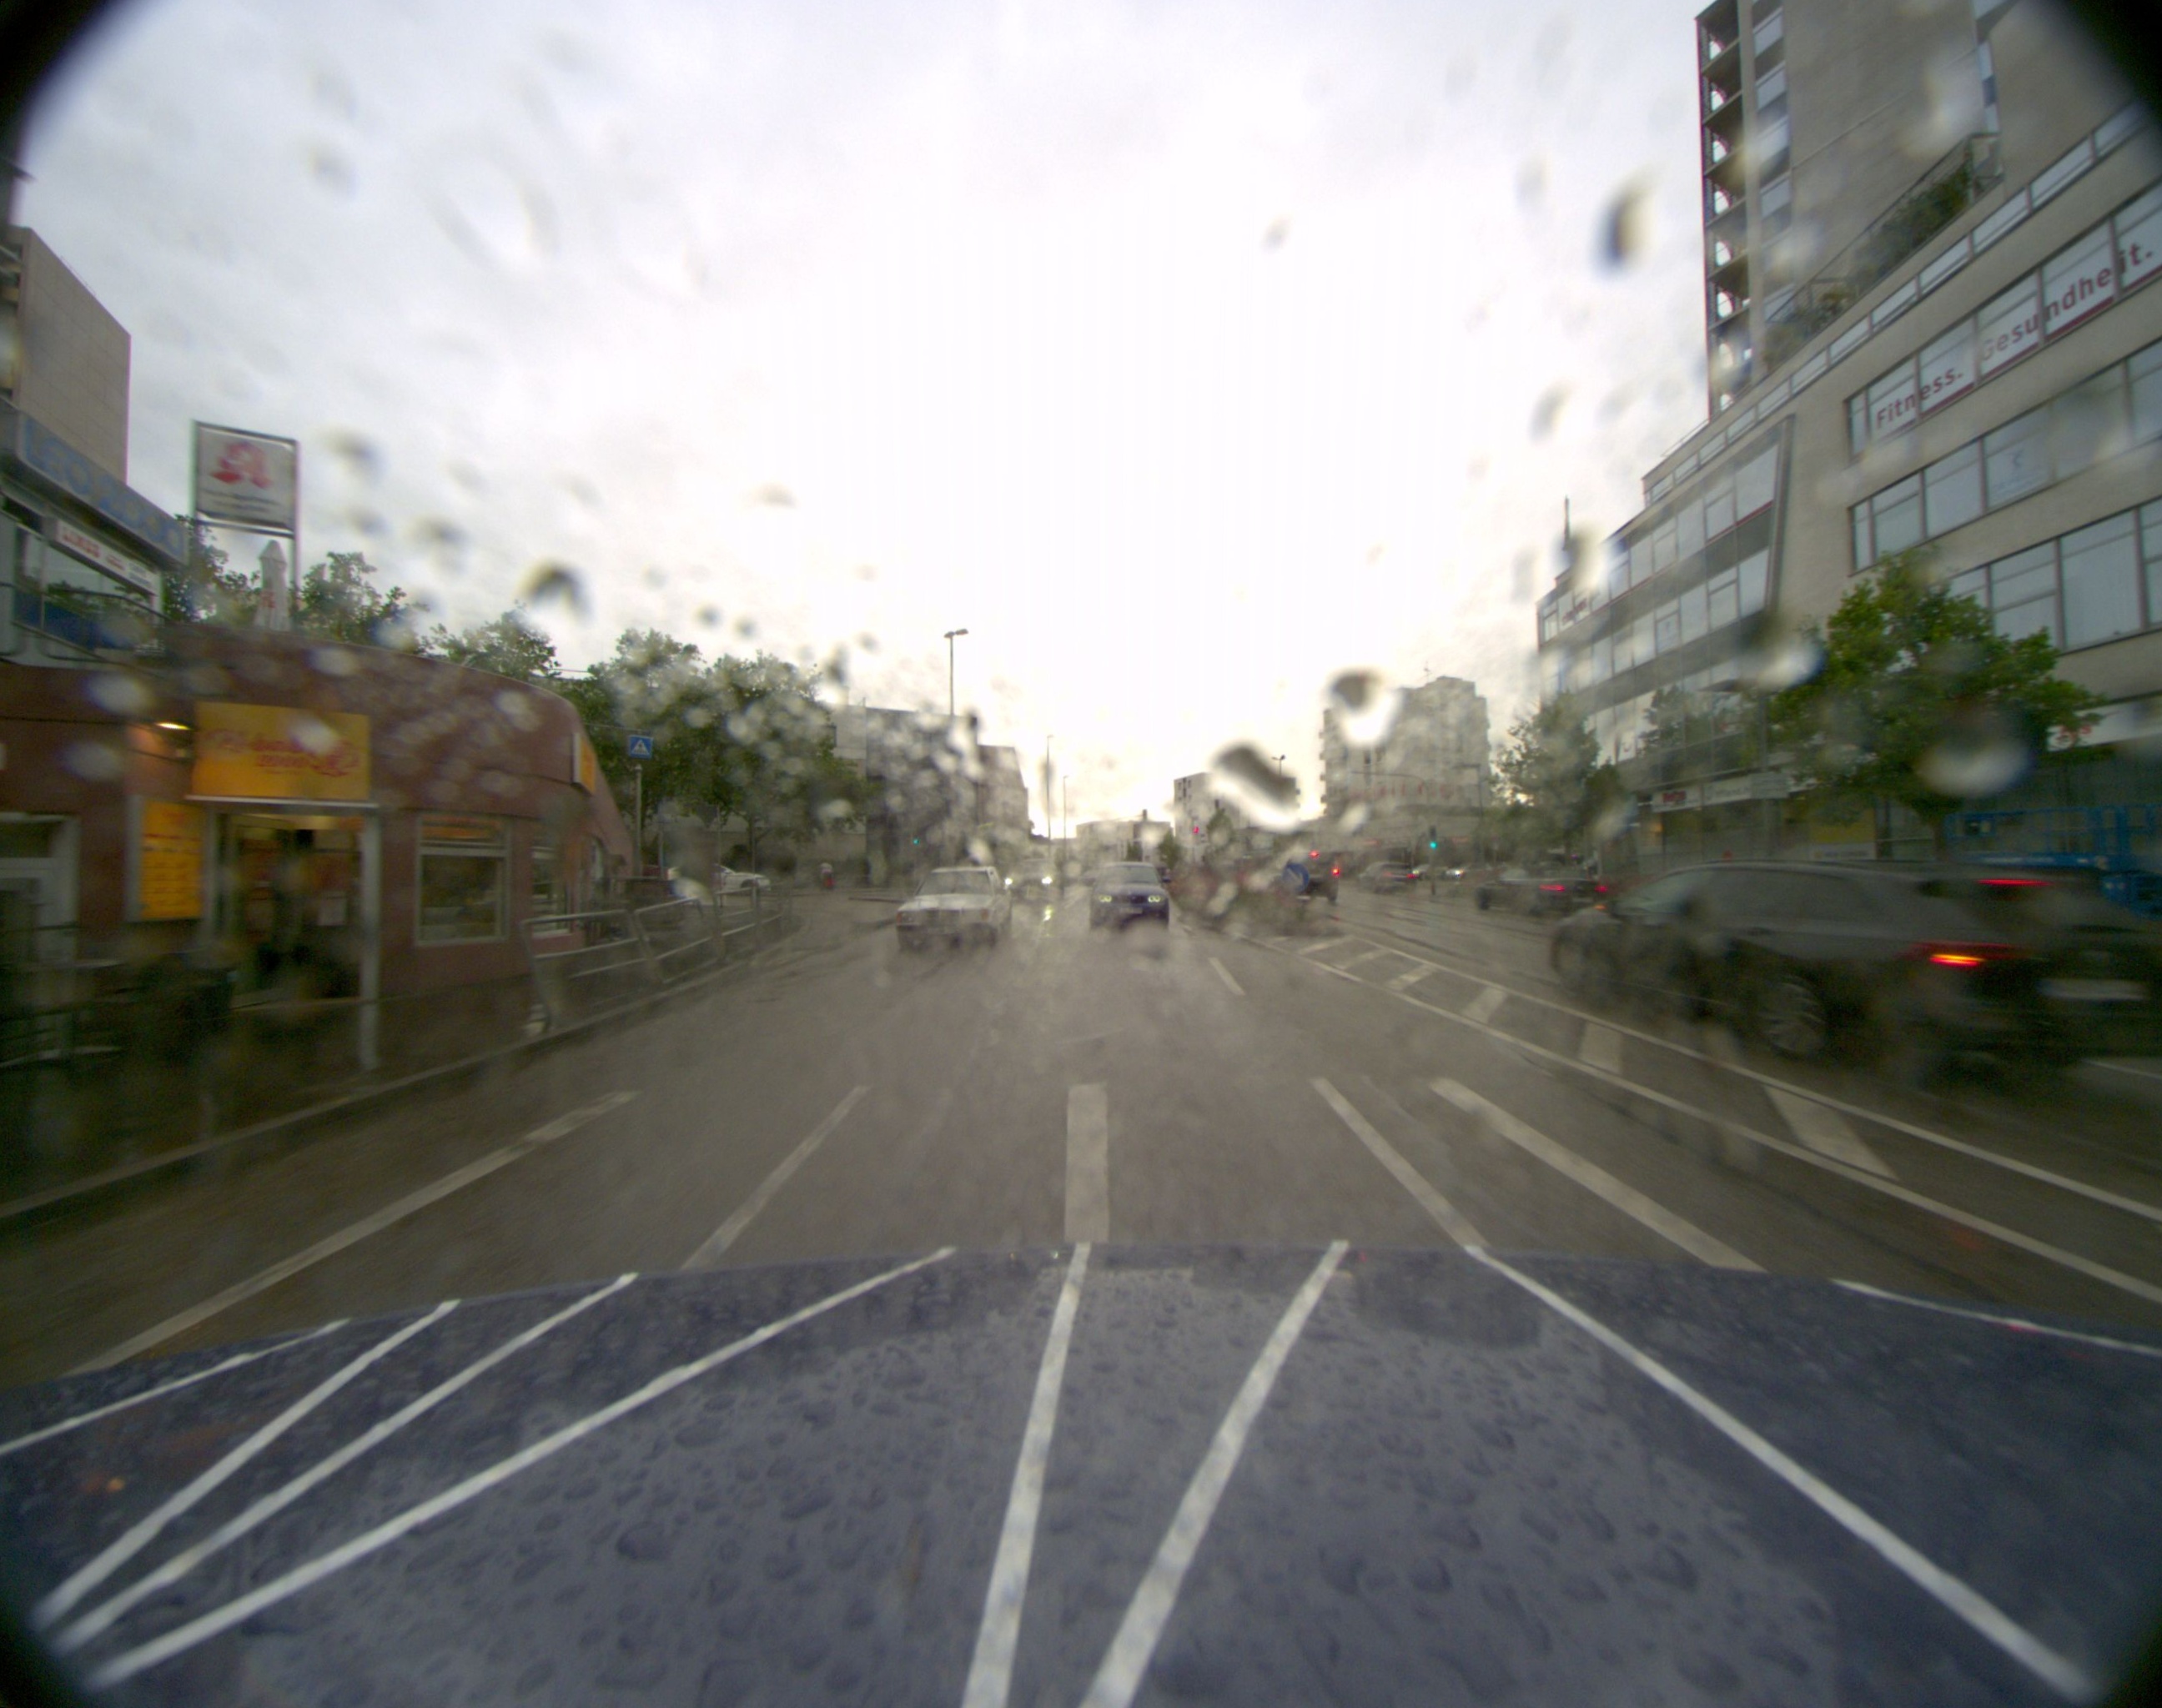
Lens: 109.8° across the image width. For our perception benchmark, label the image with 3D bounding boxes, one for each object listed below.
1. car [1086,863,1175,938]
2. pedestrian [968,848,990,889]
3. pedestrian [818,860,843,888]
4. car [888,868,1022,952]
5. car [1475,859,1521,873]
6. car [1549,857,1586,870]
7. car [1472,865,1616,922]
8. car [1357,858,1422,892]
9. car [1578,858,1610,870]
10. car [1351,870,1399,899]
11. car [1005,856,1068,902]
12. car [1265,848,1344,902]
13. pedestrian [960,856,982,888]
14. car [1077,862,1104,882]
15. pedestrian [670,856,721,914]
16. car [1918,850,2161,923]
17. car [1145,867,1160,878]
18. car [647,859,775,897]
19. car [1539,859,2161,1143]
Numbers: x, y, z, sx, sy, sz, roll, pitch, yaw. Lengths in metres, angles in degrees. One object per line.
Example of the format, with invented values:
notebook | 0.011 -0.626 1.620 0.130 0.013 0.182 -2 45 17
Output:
car | 1.078 0.928 16.683 1.688 1.373 3.795 -2 0 4
pedestrian | -4.584 0.624 34.082 0.687 1.793 0.797 2 1 11
pedestrian | -12.787 1.011 38.804 0.924 1.392 1.210 -1 1 -34
car | -2.246 0.965 14.544 1.661 1.300 3.996 0 0 4
car | 37.387 1.073 68.193 3.682 1.130 1.421 -1 0 -16
car | 47.363 0.939 73.977 3.074 1.186 1.444 -1 0 -17
car | 13.022 1.048 21.757 1.634 1.338 4.707 1 0 6
car | 15.113 1.007 37.470 1.920 1.539 4.004 1 0 6
car | 51.507 0.988 76.271 2.574 1.127 1.292 -1 0 -17
car | 18.209 1.837 46.927 1.680 1.617 4.208 1 0 37
car | -1.670 0.940 30.276 2.058 1.637 4.481 -1 0 2
car | 8.004 0.691 27.615 1.867 1.780 4.001 1 0 3
pedestrian | -4.787 0.785 33.218 0.687 1.372 0.772 2 1 11
car | 0.782 1.383 59.788 1.854 1.490 3.906 0 0 3
pedestrian | -12.612 0.981 24.862 0.714 1.818 1.266 0 1 35
car | 21.031 0.621 16.532 1.756 1.402 3.732 0 0 6
car | 10.050 2.581 106.718 1.750 1.533 4.422 0 0 1
car | -16.340 1.014 33.728 4.938 1.505 1.847 -1 0 -27
car | 5.935 0.824 6.345 1.711 1.508 4.392 0 0 2
